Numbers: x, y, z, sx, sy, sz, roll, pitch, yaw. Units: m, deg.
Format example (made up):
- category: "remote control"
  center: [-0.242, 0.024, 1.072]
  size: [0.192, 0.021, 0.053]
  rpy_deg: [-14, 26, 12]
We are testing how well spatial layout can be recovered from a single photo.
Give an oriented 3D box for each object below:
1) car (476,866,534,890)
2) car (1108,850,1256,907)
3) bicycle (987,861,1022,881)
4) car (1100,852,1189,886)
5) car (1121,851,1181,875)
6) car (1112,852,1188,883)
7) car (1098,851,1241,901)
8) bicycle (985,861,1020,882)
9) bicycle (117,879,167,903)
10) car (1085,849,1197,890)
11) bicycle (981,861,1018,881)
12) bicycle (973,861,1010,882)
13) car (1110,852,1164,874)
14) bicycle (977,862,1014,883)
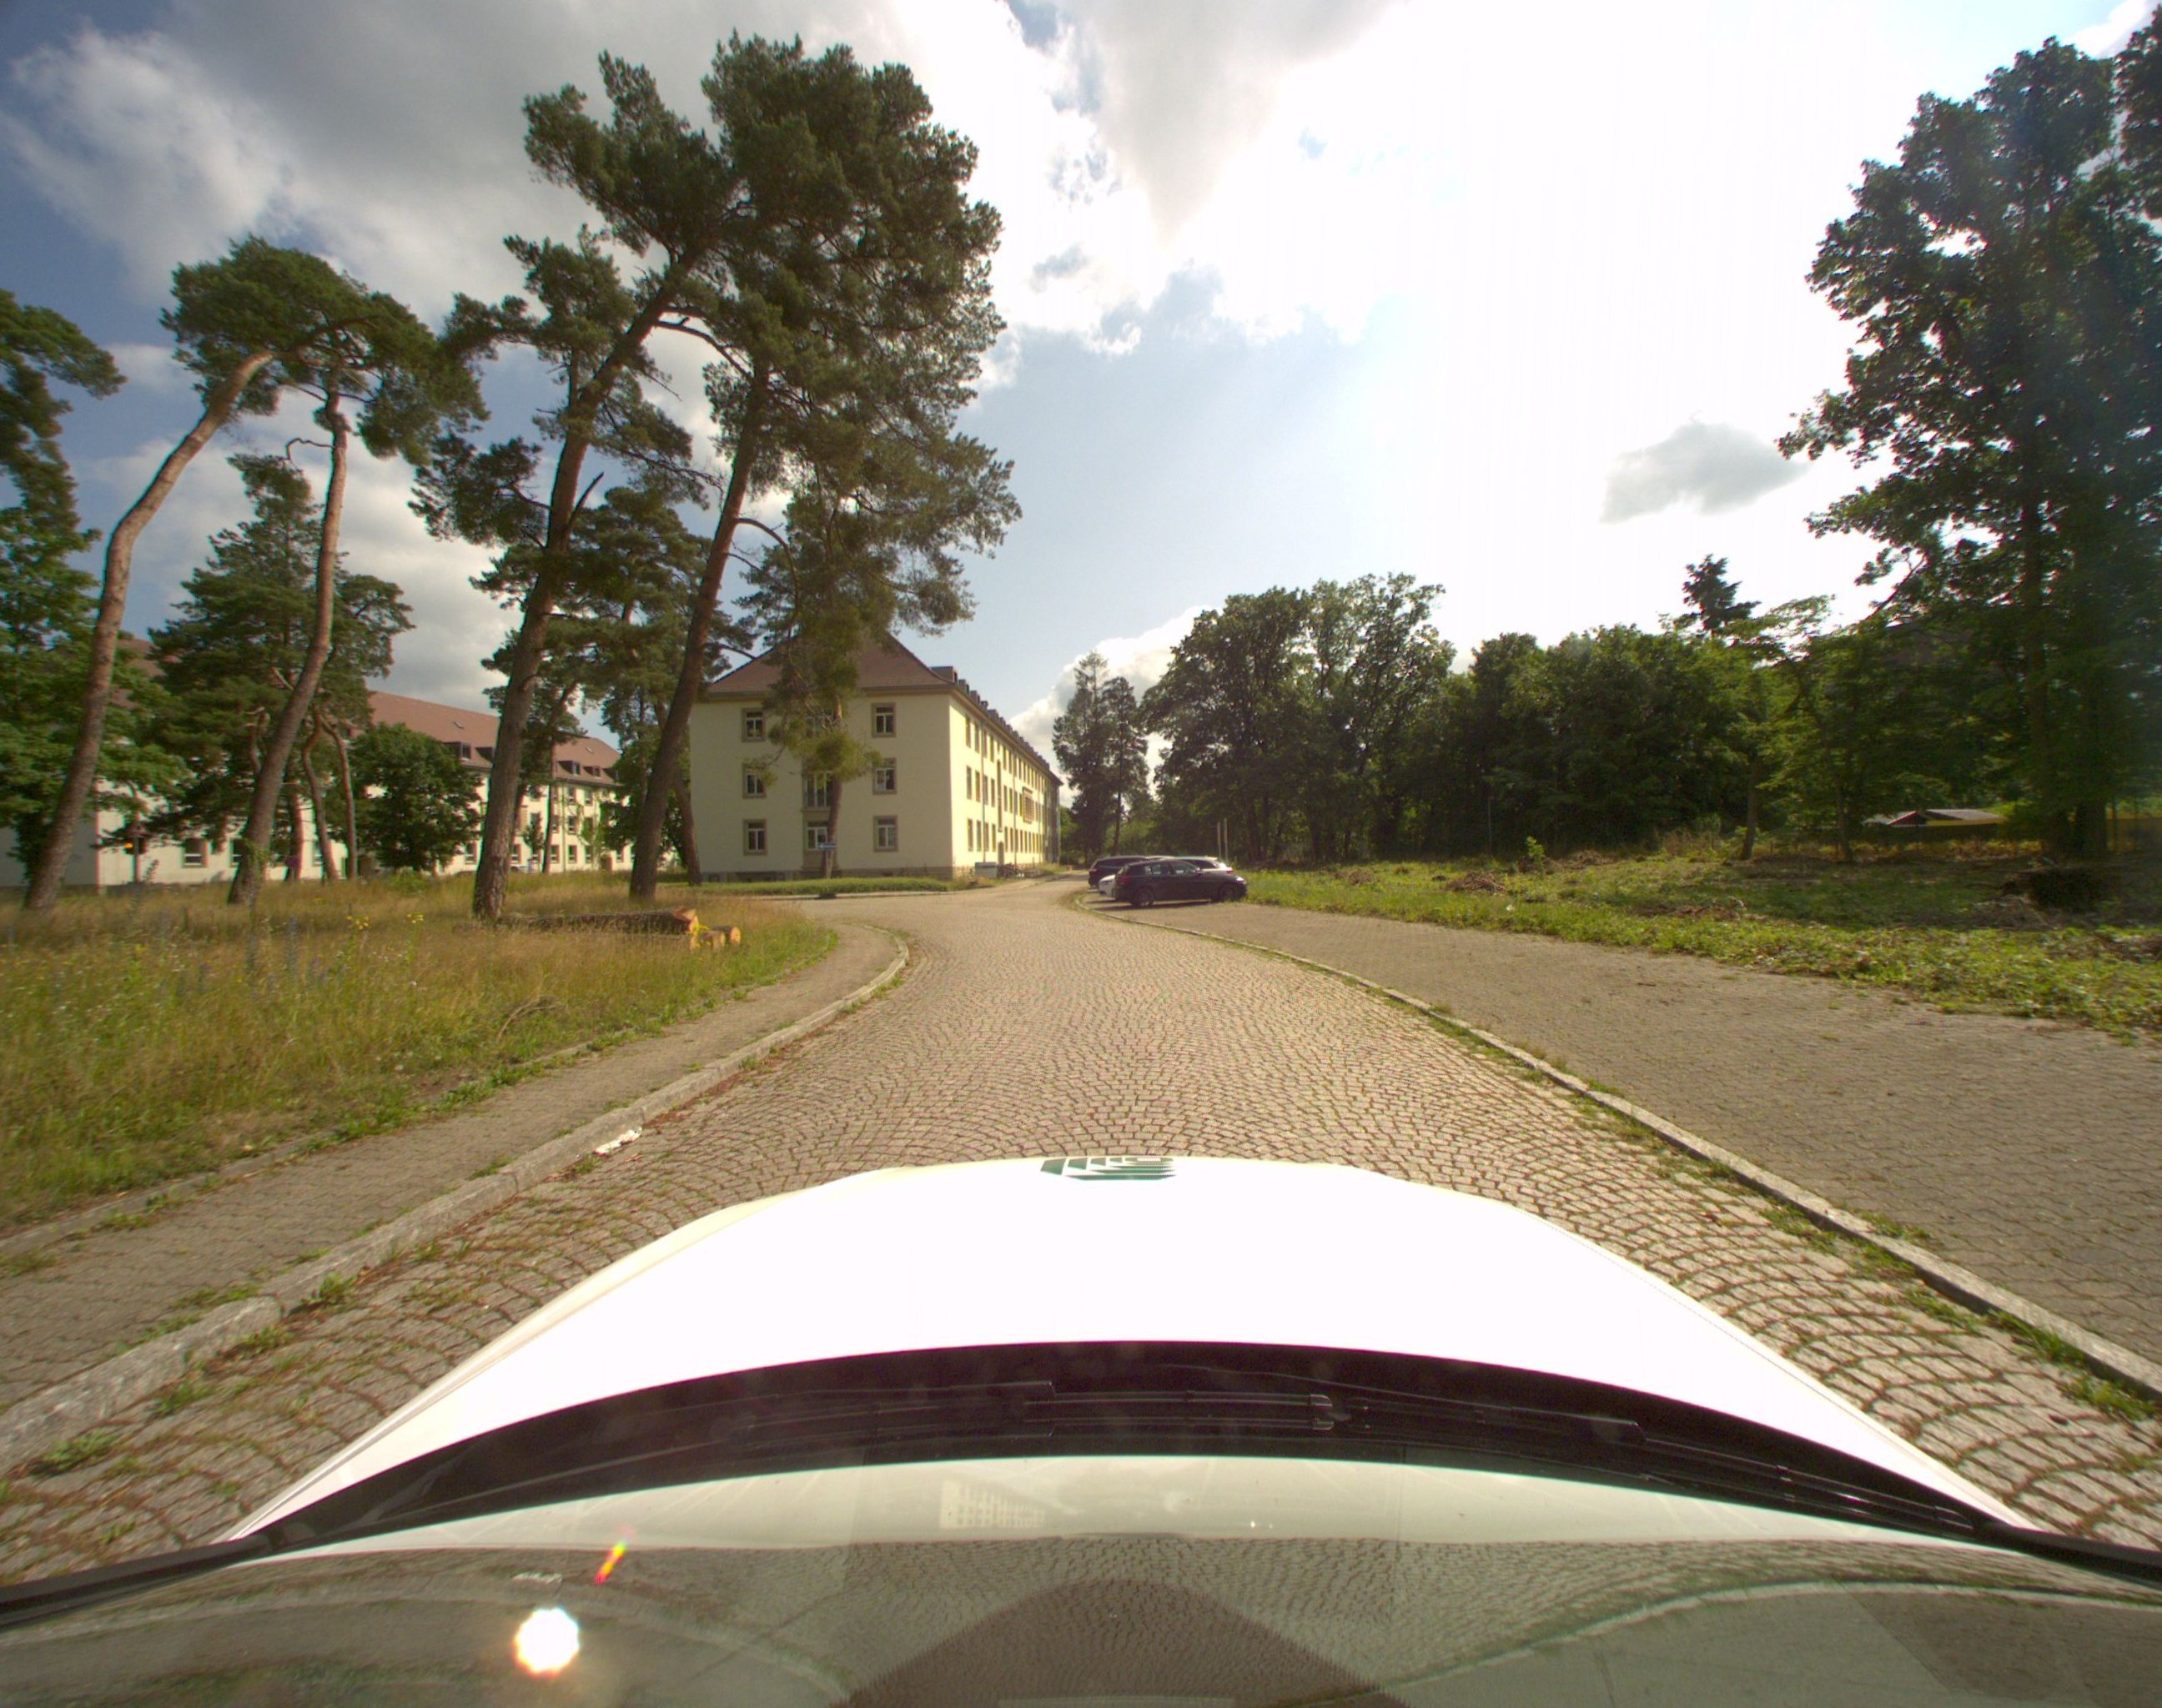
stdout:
- category: "car"
  center: [-51.562, 2.106, 72.956]
  size: [4.040, 1.991, 1.715]
  rpy_deg: [-2, -1, 4]
- category: "car"
  center: [3.145, 0.745, 25.869]
  size: [4.317, 1.500, 1.827]
  rpy_deg: [-3, 0, -5]
- category: "bicycle"
  center: [-5.142, 1.159, 54.944]
  size: [2.211, 1.260, 0.624]
  rpy_deg: [-2, -1, 5]
- category: "car"
  center: [3.226, 0.764, 41.895]
  size: [4.381, 1.484, 1.766]
  rpy_deg: [-3, -1, 2]
- category: "car"
  center: [5.084, 0.647, 59.126]
  size: [4.246, 1.484, 1.823]
  rpy_deg: [-3, -1, 5]
- category: "car"
  center: [3.950, 0.769, 46.482]
  size: [4.187, 1.484, 1.823]
  rpy_deg: [-3, -1, 5]
- category: "car"
  center: [3.088, 0.747, 29.085]
  size: [4.843, 1.472, 1.875]
  rpy_deg: [-3, 0, 2]
- category: "bicycle"
  center: [-5.193, 1.154, 53.935]
  size: [2.211, 1.260, 0.624]
  rpy_deg: [-2, -1, 5]
- category: "bicycle"
  center: [-47.254, 1.862, 41.007]
  size: [0.486, 1.100, 1.593]
  rpy_deg: [-2, 0, 15]
- category: "car"
  center: [2.652, 0.693, 36.474]
  size: [4.834, 1.552, 1.881]
  rpy_deg: [-3, -1, 2]
- category: "bicycle"
  center: [-5.304, 1.113, 53.064]
  size: [2.208, 1.260, 0.625]
  rpy_deg: [-2, -1, 10]
- category: "bicycle"
  center: [-5.631, 1.114, 51.337]
  size: [2.208, 1.260, 0.625]
  rpy_deg: [-2, -1, 10]
- category: "car"
  center: [4.451, 0.709, 64.576]
  size: [4.167, 1.543, 1.823]
  rpy_deg: [-3, -1, 5]
- category: "bicycle"
  center: [-5.483, 1.153, 52.154]
  size: [2.211, 1.260, 0.624]
  rpy_deg: [-2, -1, 5]
